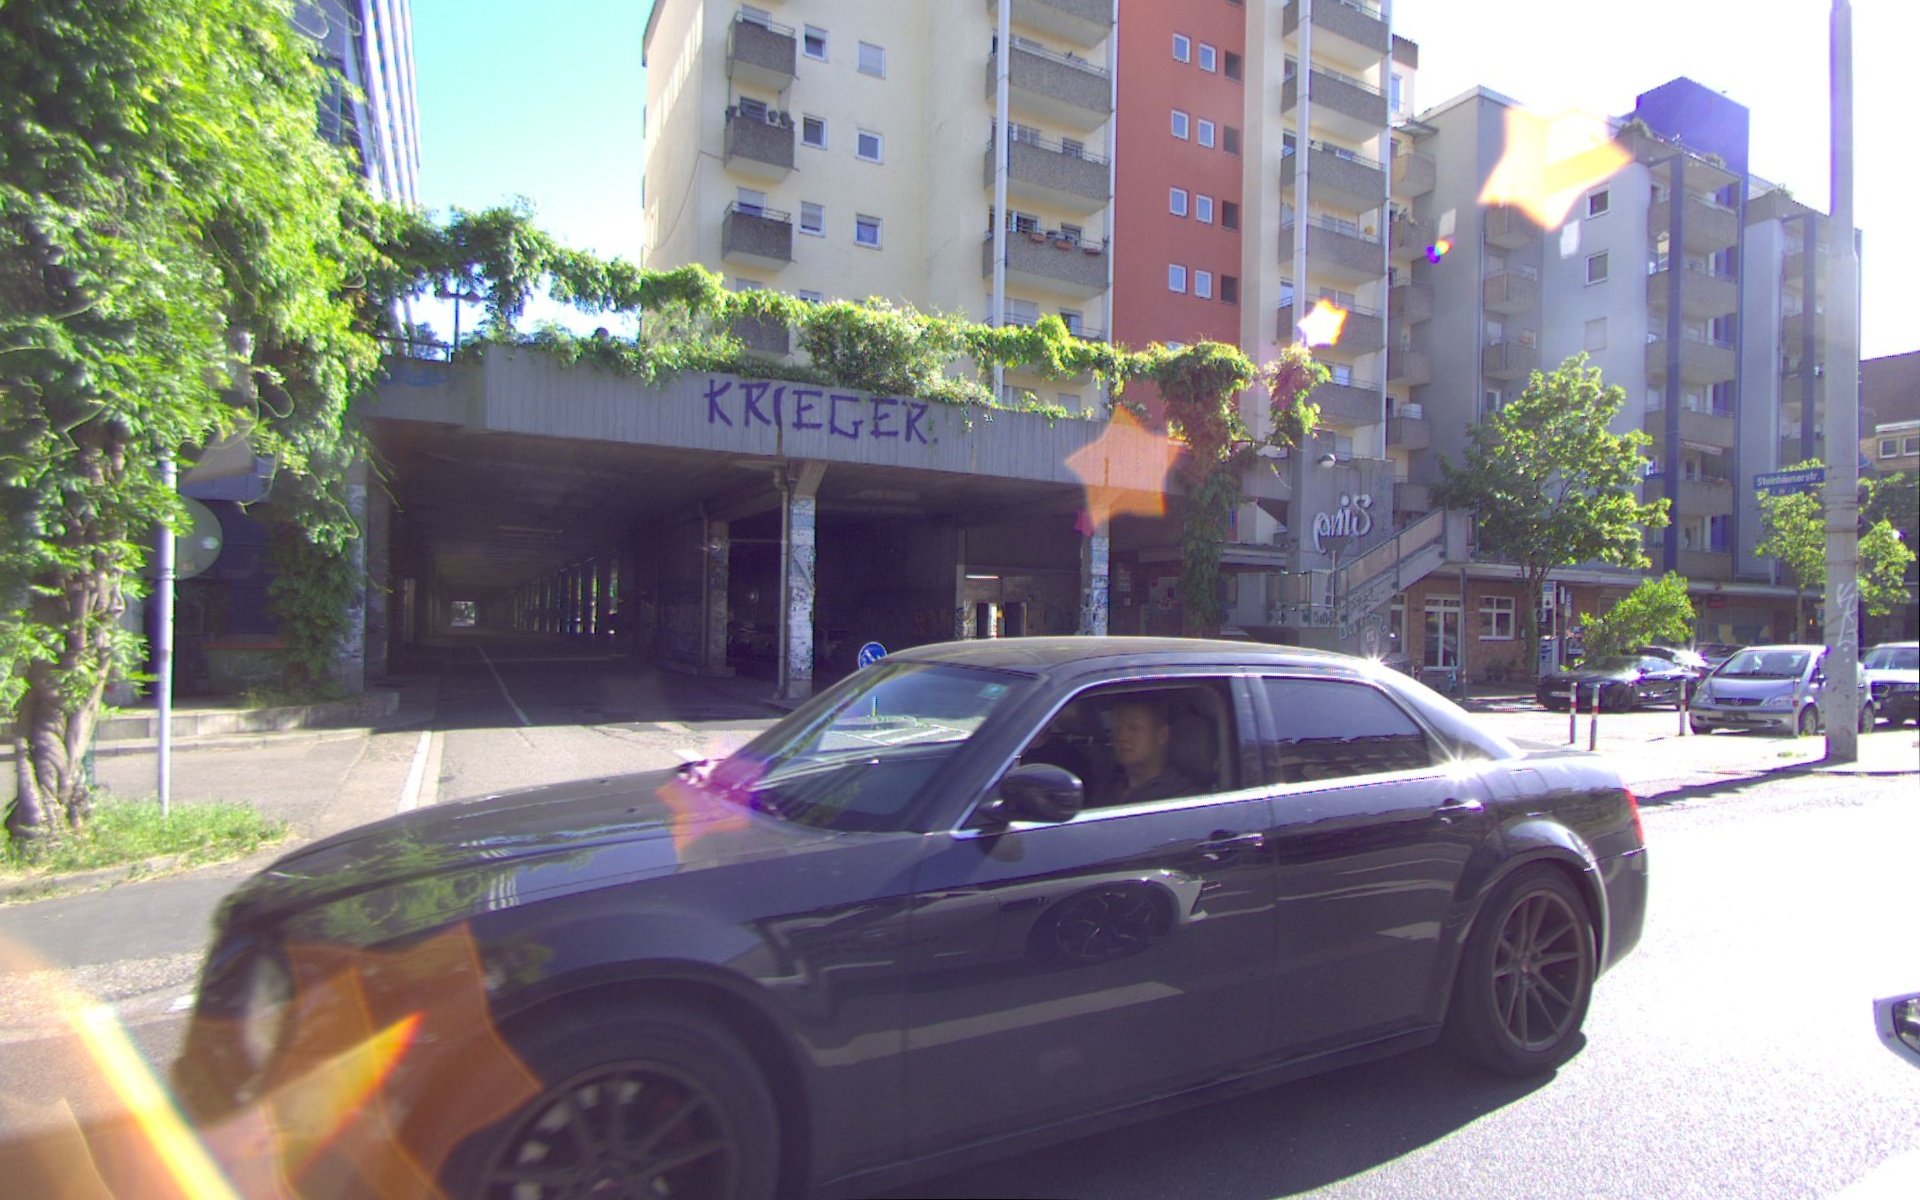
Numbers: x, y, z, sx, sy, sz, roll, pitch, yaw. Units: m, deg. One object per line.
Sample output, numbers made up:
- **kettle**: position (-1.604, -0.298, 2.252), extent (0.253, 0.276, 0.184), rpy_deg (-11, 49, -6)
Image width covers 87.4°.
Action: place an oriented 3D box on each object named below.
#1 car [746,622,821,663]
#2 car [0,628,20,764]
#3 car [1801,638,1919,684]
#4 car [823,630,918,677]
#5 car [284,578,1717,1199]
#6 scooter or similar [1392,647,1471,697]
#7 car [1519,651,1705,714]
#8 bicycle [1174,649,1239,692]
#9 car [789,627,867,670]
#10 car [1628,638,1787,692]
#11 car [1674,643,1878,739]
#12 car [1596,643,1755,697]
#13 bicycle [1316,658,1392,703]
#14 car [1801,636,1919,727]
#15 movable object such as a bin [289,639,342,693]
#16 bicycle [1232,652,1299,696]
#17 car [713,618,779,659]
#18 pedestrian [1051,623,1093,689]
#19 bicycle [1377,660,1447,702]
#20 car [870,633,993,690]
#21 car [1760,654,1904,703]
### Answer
- **car**: position (-7.312, 1.721, 41.244), extent (1.715, 1.566, 4.122), rpy_deg (2, -2, -30)
- **car**: position (-12.081, 1.013, 10.017), extent (3.603, 1.505, 1.599), rpy_deg (2, -2, -29)
- **car**: position (36.519, 2.419, 40.288), extent (1.668, 1.651, 3.967), rpy_deg (2, -2, -31)
- **car**: position (-3.054, 1.767, 33.711), extent (1.745, 1.429, 4.034), rpy_deg (2, -2, -28)
- **car**: position (0.450, 0.787, 3.600), extent (4.534, 1.477, 1.859), rpy_deg (2, -2, -27)
- **scooter or similar**: position (13.008, 1.962, 27.751), extent (0.624, 1.294, 1.956), rpy_deg (1, -1, -32)
- **car**: position (16.311, 2.010, 25.119), extent (4.469, 1.416, 1.885), rpy_deg (2, -2, -26)
- **bicycle**: position (6.479, 1.844, 26.483), extent (0.479, 1.014, 1.784), rpy_deg (0, 0, -35)
- **car**: position (-5.011, 1.781, 37.768), extent (1.591, 1.507, 3.607), rpy_deg (2, -2, -32)
- **car**: position (25.299, 2.173, 34.112), extent (1.820, 1.629, 3.967), rpy_deg (2, -2, -31)
- **car**: position (14.505, 1.551, 17.843), extent (3.491, 1.538, 1.711), rpy_deg (2, -2, -31)
- **car**: position (23.687, 2.277, 33.400), extent (1.749, 1.571, 3.967), rpy_deg (2, -2, -31)
- **bicycle**: position (9.695, 1.985, 24.738), extent (1.770, 1.045, 0.414), rpy_deg (2, 2, -12)
- **car**: position (19.008, 1.571, 20.033), extent (4.447, 1.649, 1.861), rpy_deg (2, -2, -27)
- **movable object such as a bin**: position (-11.207, 1.142, 17.495), extent (0.710, 0.917, 0.636), rpy_deg (2, -1, -29)
- **bicycle**: position (7.828, 1.883, 25.782), extent (1.593, 1.014, 0.413), rpy_deg (2, 1, 40)
- **car**: position (-9.909, 1.738, 46.229), extent (1.836, 1.688, 4.339), rpy_deg (2, -1, -28)
- **pedestrian**: position (3.072, 1.525, 27.563), extent (0.787, 1.722, 0.752), rpy_deg (2, 1, -29)
- **bicycle**: position (11.529, 2.056, 25.598), extent (1.774, 1.014, 0.413), rpy_deg (1, 2, -18)
- **car**: position (-0.928, 1.740, 29.236), extent (1.833, 1.451, 4.578), rpy_deg (4, -3, -25)
- **car**: position (34.140, 3.035, 39.427), extent (1.668, 1.651, 3.967), rpy_deg (2, -2, -31)
